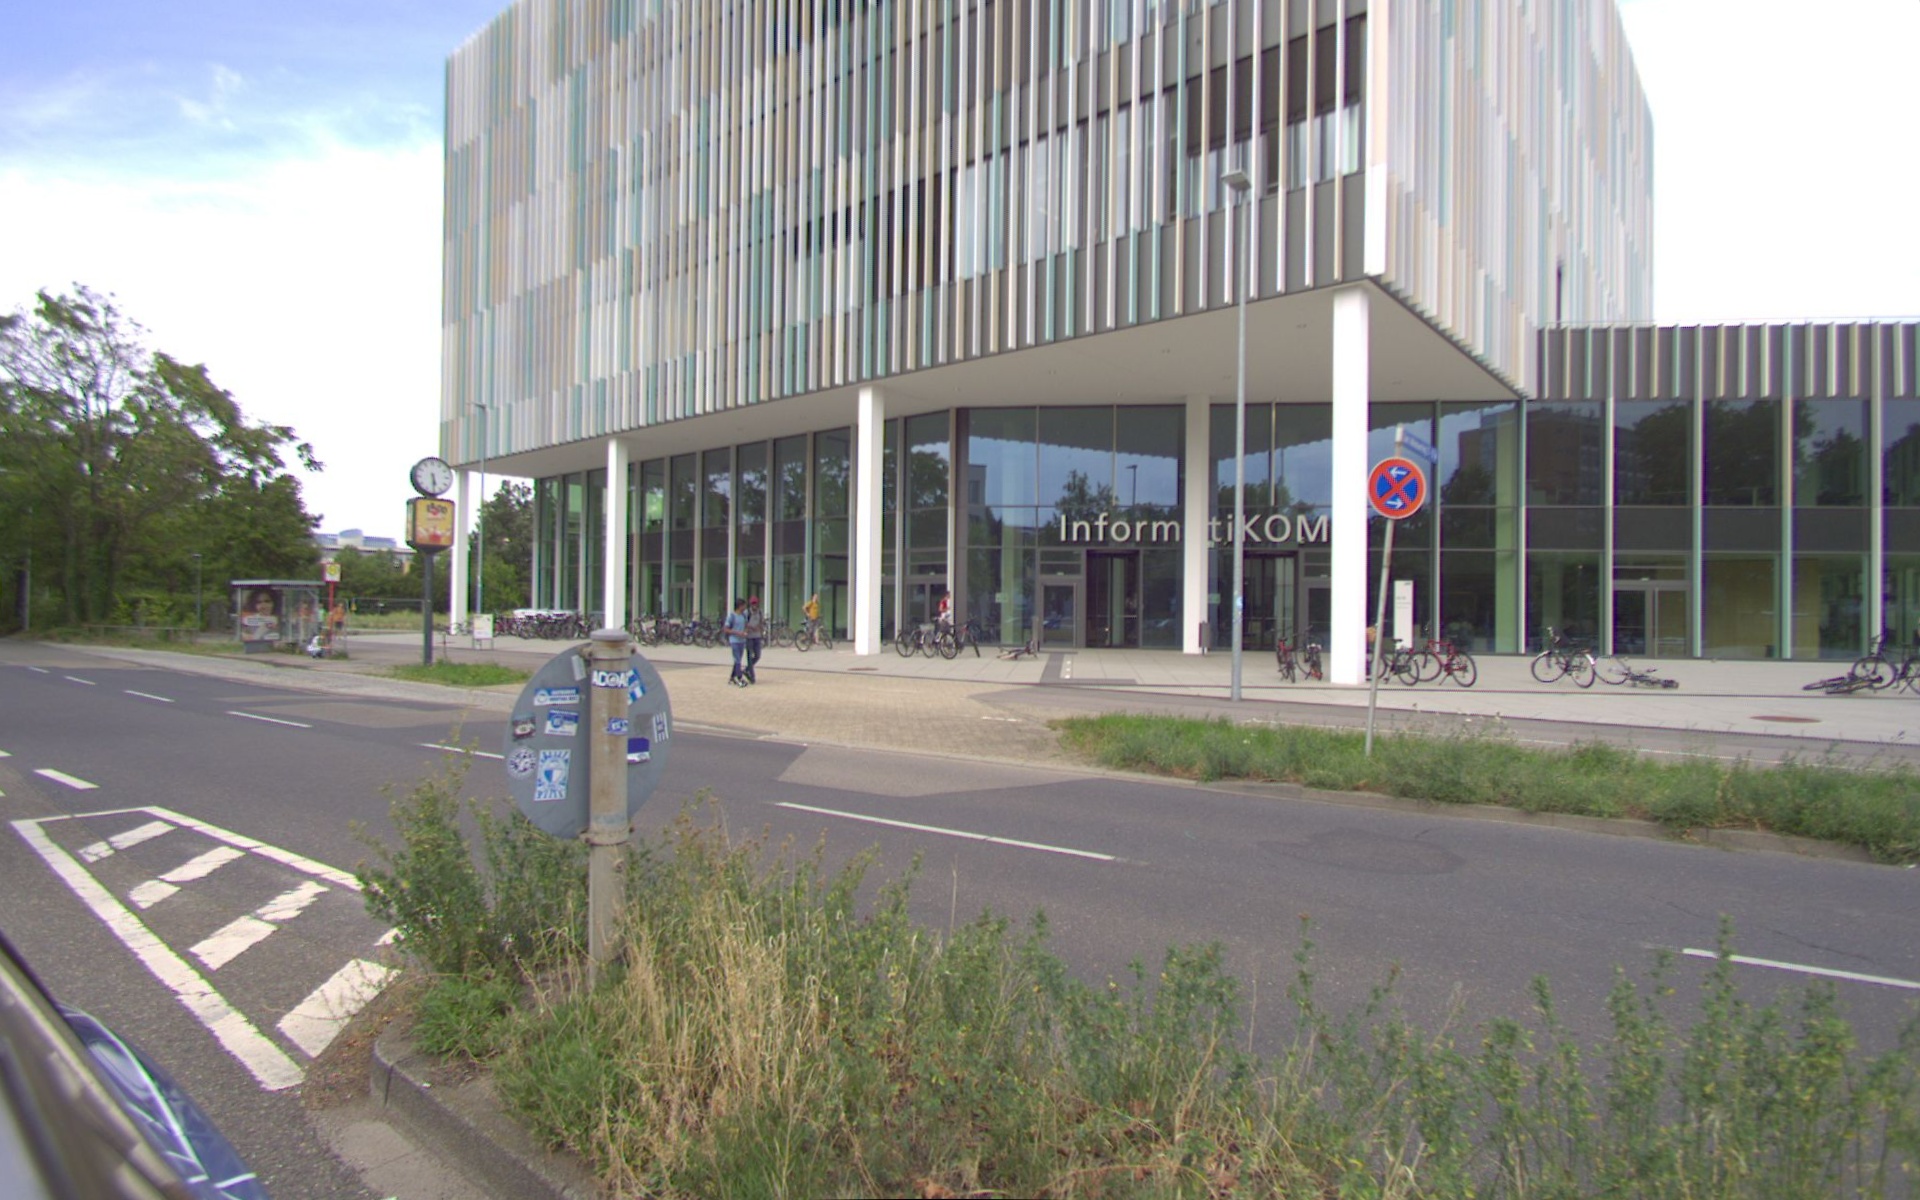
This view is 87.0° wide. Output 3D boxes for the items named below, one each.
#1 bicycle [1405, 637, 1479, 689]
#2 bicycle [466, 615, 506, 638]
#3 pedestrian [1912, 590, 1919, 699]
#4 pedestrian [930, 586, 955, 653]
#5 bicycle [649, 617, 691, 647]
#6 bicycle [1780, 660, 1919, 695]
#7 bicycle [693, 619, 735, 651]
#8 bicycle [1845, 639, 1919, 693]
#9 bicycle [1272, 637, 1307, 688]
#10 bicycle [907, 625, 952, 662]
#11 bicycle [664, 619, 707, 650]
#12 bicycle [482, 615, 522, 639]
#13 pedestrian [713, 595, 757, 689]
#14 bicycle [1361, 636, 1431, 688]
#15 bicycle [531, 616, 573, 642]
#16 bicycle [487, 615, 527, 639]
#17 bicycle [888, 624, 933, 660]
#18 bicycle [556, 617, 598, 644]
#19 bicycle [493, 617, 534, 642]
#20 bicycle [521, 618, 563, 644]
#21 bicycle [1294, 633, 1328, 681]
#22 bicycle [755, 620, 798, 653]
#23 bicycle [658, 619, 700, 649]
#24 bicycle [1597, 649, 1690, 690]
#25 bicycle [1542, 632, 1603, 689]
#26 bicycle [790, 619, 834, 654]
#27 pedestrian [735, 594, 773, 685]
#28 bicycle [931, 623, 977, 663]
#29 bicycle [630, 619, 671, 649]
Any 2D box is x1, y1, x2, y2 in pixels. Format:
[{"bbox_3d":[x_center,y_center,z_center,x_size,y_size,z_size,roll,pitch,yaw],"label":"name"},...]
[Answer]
[{"bbox_3d":[9.839,1.261,20.712,0.387,0.944,1.603,-1,1,-15],"label":"bicycle"},{"bbox_3d":[-22.406,1.236,47.869,0.434,1.031,1.683,0,1,36],"label":"bicycle"},{"bbox_3d":[15.797,0.714,16.074,0.670,1.753,0.728,0,-1,8],"label":"pedestrian"},{"bbox_3d":[-0.546,0.605,31.711,0.505,2.059,0.625,1,-2,-44],"label":"pedestrian"},{"bbox_3d":[-10.667,1.179,37.232,0.389,1.031,1.563,0,1,36],"label":"bicycle"},{"bbox_3d":[16.862,1.448,19.191,0.614,0.526,2.253,0,-1,-6],"label":"bicycle"},{"bbox_3d":[-8.613,1.224,35.462,0.389,1.031,1.563,0,1,36],"label":"bicycle"},{"bbox_3d":[18.332,1.262,19.387,0.614,0.992,2.253,0,-1,-6],"label":"bicycle"},{"bbox_3d":[6.862,1.280,21.125,0.389,0.944,1.607,-1,1,8],"label":"bicycle"},{"bbox_3d":[-0.841,1.190,28.217,0.393,0.944,1.527,0,1,36],"label":"bicycle"},{"bbox_3d":[-9.903,1.241,36.531,0.389,1.031,1.563,0,1,36],"label":"bicycle"},{"bbox_3d":[-21.239,1.237,46.953,0.434,1.031,1.683,0,1,36],"label":"bicycle"},{"bbox_3d":[-4.524,0.842,20.327,0.772,1.851,0.505,-2,-2,41],"label":"pedestrian"},{"bbox_3d":[8.891,1.250,20.677,0.387,0.944,1.603,-1,1,-15],"label":"bicycle"},{"bbox_3d":[-17.394,1.223,43.209,0.434,1.031,1.683,0,1,36],"label":"bicycle"},{"bbox_3d":[-20.693,1.238,46.243,0.434,1.031,1.683,0,1,36],"label":"bicycle"},{"bbox_3d":[-1.384,1.187,28.739,0.389,0.944,1.527,0,1,36],"label":"bicycle"},{"bbox_3d":[-15.992,1.264,42.321,0.389,1.031,1.683,0,1,36],"label":"bicycle"},{"bbox_3d":[-19.949,1.323,45.278,0.434,1.031,1.683,0,1,36],"label":"bicycle"},{"bbox_3d":[-18.058,1.336,43.737,0.434,1.031,1.683,0,1,36],"label":"bicycle"},{"bbox_3d":[7.624,1.224,22.029,0.389,0.944,1.594,-1,1,8],"label":"bicycle"},{"bbox_3d":[-6.091,1.210,33.692,0.389,1.031,1.563,0,1,36],"label":"bicycle"},{"bbox_3d":[-10.253,1.228,36.964,0.389,1.031,1.563,0,1,36],"label":"bicycle"},{"bbox_3d":[13.776,1.393,20.462,0.387,0.678,1.800,-1,1,-11],"label":"bicycle"},{"bbox_3d":[12.354,1.199,20.450,0.389,1.037,1.544,-1,1,4],"label":"bicycle"},{"bbox_3d":[-4.694,1.141,32.192,0.389,1.031,1.563,0,1,36],"label":"bicycle"},{"bbox_3d":[-4.247,0.813,20.873,0.624,1.851,0.505,-2,-2,41],"label":"pedestrian"},{"bbox_3d":[-0.162,1.162,27.605,0.399,1.002,1.527,0,1,37],"label":"bicycle"},{"bbox_3d":[-11.604,1.268,38.001,0.389,1.031,1.563,0,1,36],"label":"bicycle"}]
